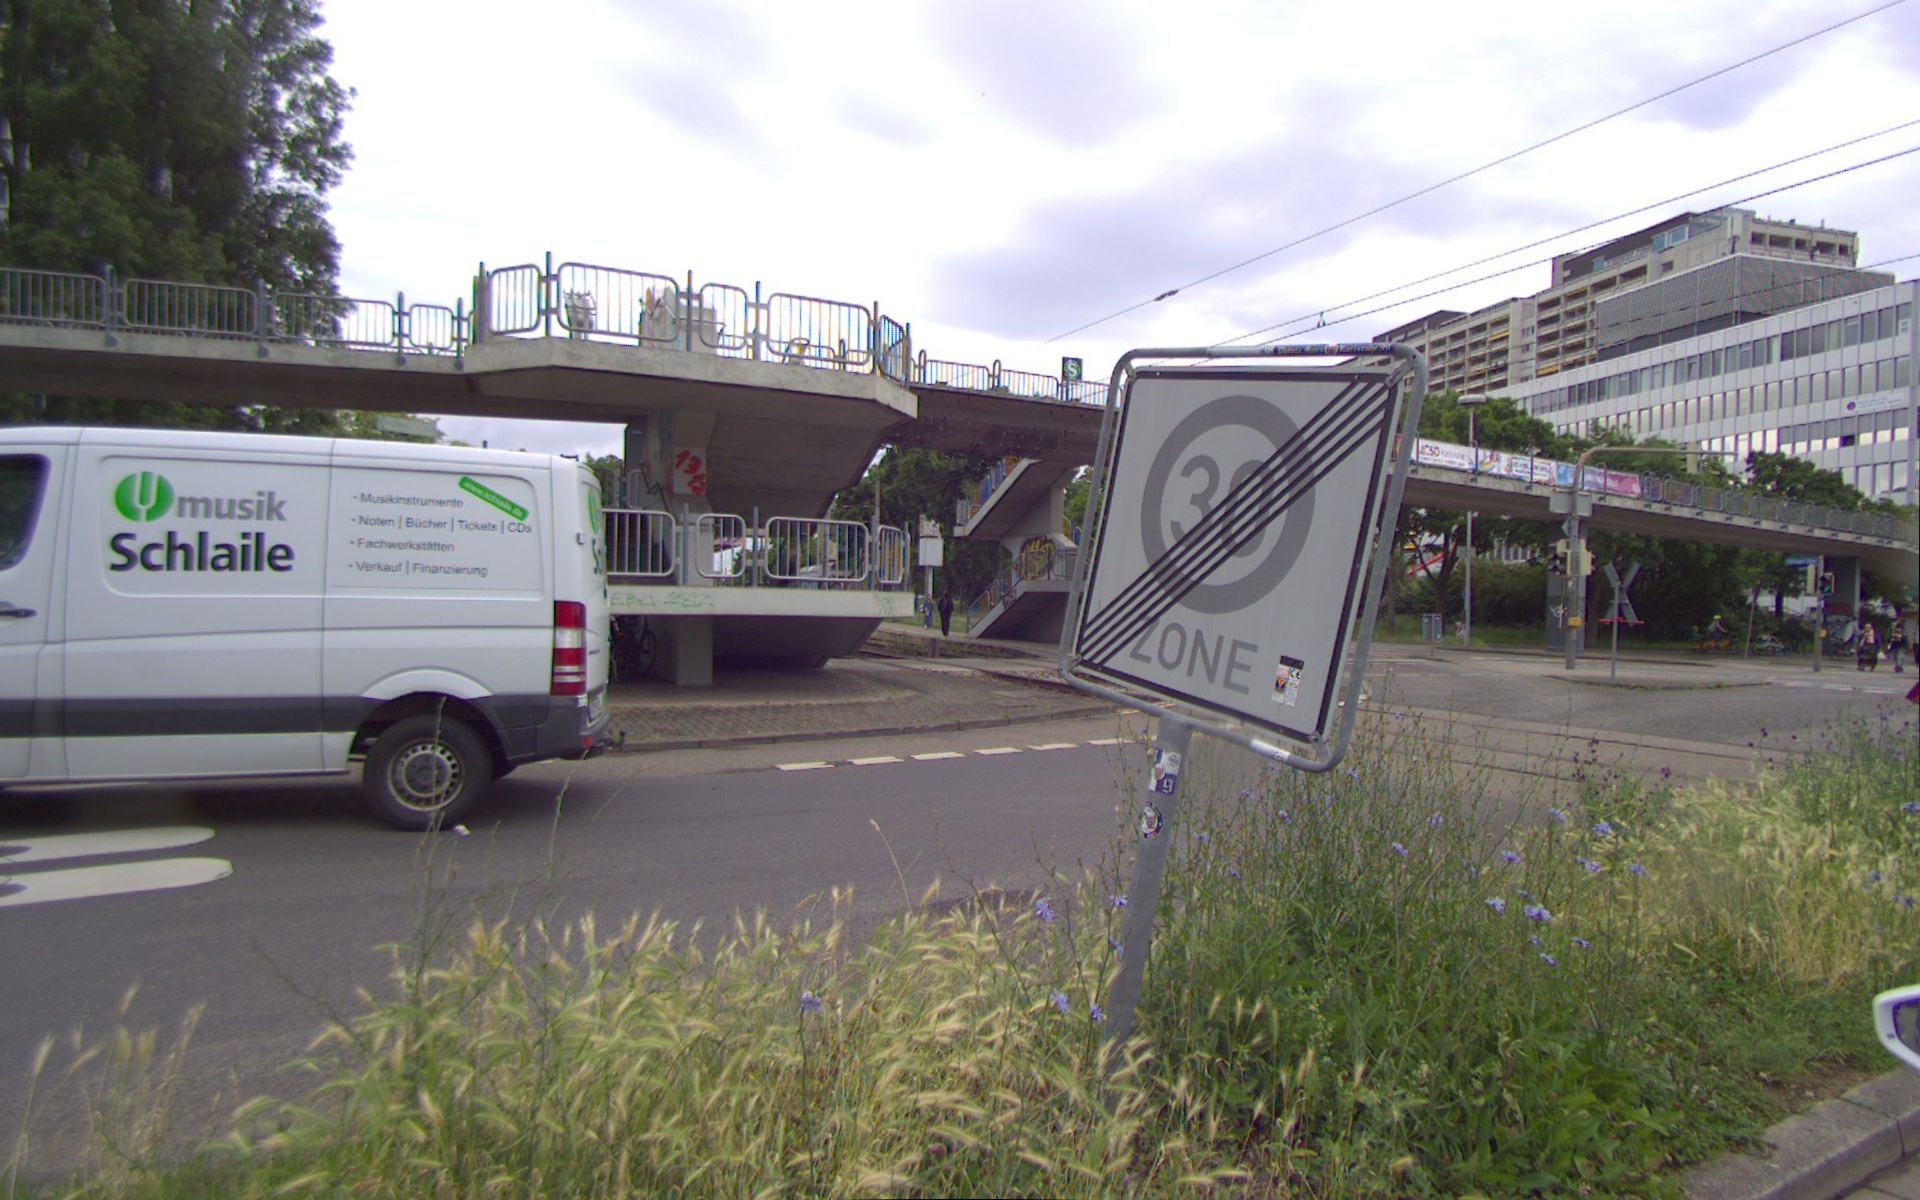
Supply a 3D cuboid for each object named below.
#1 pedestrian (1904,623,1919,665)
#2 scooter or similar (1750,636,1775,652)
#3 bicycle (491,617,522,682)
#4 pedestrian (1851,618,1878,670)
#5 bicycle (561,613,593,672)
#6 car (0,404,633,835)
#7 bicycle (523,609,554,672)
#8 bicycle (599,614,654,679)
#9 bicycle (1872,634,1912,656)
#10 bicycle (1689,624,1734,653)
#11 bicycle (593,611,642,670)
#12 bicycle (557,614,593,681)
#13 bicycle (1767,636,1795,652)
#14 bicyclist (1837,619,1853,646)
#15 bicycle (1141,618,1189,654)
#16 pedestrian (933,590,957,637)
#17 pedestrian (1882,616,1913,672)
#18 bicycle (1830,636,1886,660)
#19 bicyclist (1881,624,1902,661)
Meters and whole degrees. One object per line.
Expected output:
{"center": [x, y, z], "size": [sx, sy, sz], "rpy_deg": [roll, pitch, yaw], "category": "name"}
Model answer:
{"center": [36.877, 1.697, 38.777], "size": [0.572, 1.600, 0.777], "rpy_deg": [2, 0, 42], "category": "pedestrian"}
{"center": [38.204, 2.106, 47.822], "size": [0.979, 0.724, 0.405], "rpy_deg": [1, 0, -11], "category": "scooter or similar"}
{"center": [-6.958, 0.736, 15.418], "size": [0.389, 0.897, 1.632], "rpy_deg": [1, 0, -24], "category": "bicycle"}
{"center": [30.568, 1.490, 33.946], "size": [0.402, 1.714, 0.612], "rpy_deg": [1, 1, -43], "category": "pedestrian"}
{"center": [-6.383, 0.680, 16.705], "size": [0.389, 0.897, 1.632], "rpy_deg": [1, 0, -24], "category": "bicycle"}
{"center": [-4.916, 0.118, 6.617], "size": [5.125, 2.323, 2.133], "rpy_deg": [2, 0, -17], "category": "car"}
{"center": [-6.563, 0.609, 15.612], "size": [0.389, 0.897, 1.632], "rpy_deg": [1, 0, -24], "category": "bicycle"}
{"center": [-4.983, 0.669, 15.074], "size": [0.387, 0.897, 1.741], "rpy_deg": [1, 0, -6], "category": "bicycle"}
{"center": [43.072, 2.075, 46.417], "size": [2.493, 0.938, 0.628], "rpy_deg": [1, 1, -31], "category": "bicycle"}
{"center": [35.902, 1.839, 48.008], "size": [1.682, 1.321, 0.387], "rpy_deg": [2, 1, 36], "category": "bicycle"}
{"center": [-5.720, 0.650, 16.737], "size": [0.390, 0.897, 1.628], "rpy_deg": [1, 0, -32], "category": "bicycle"}
{"center": [-5.677, 0.669, 14.775], "size": [0.389, 0.897, 1.632], "rpy_deg": [1, 0, -24], "category": "bicycle"}
{"center": [39.303, 2.107, 48.072], "size": [1.275, 0.701, 0.290], "rpy_deg": [1, 1, -11], "category": "bicycle"}
{"center": [39.729, 1.453, 45.099], "size": [0.372, 1.197, 0.403], "rpy_deg": [0, 1, -28], "category": "bicyclist"}
{"center": [5.821, 1.020, 28.639], "size": [0.368, 0.934, 2.029], "rpy_deg": [1, 0, -18], "category": "bicycle"}
{"center": [-0.547, 0.489, 36.427], "size": [0.593, 1.664, 0.659], "rpy_deg": [1, 0, -25], "category": "pedestrian"}
{"center": [31.253, 1.455, 33.487], "size": [0.795, 1.828, 0.632], "rpy_deg": [1, 1, -39], "category": "pedestrian"}
{"center": [39.875, 2.124, 44.618], "size": [1.916, 0.962, 0.764], "rpy_deg": [1, 0, -6], "category": "bicycle"}
{"center": [43.003, 1.955, 46.385], "size": [0.525, 1.666, 0.562], "rpy_deg": [2, 0, -29], "category": "bicyclist"}
